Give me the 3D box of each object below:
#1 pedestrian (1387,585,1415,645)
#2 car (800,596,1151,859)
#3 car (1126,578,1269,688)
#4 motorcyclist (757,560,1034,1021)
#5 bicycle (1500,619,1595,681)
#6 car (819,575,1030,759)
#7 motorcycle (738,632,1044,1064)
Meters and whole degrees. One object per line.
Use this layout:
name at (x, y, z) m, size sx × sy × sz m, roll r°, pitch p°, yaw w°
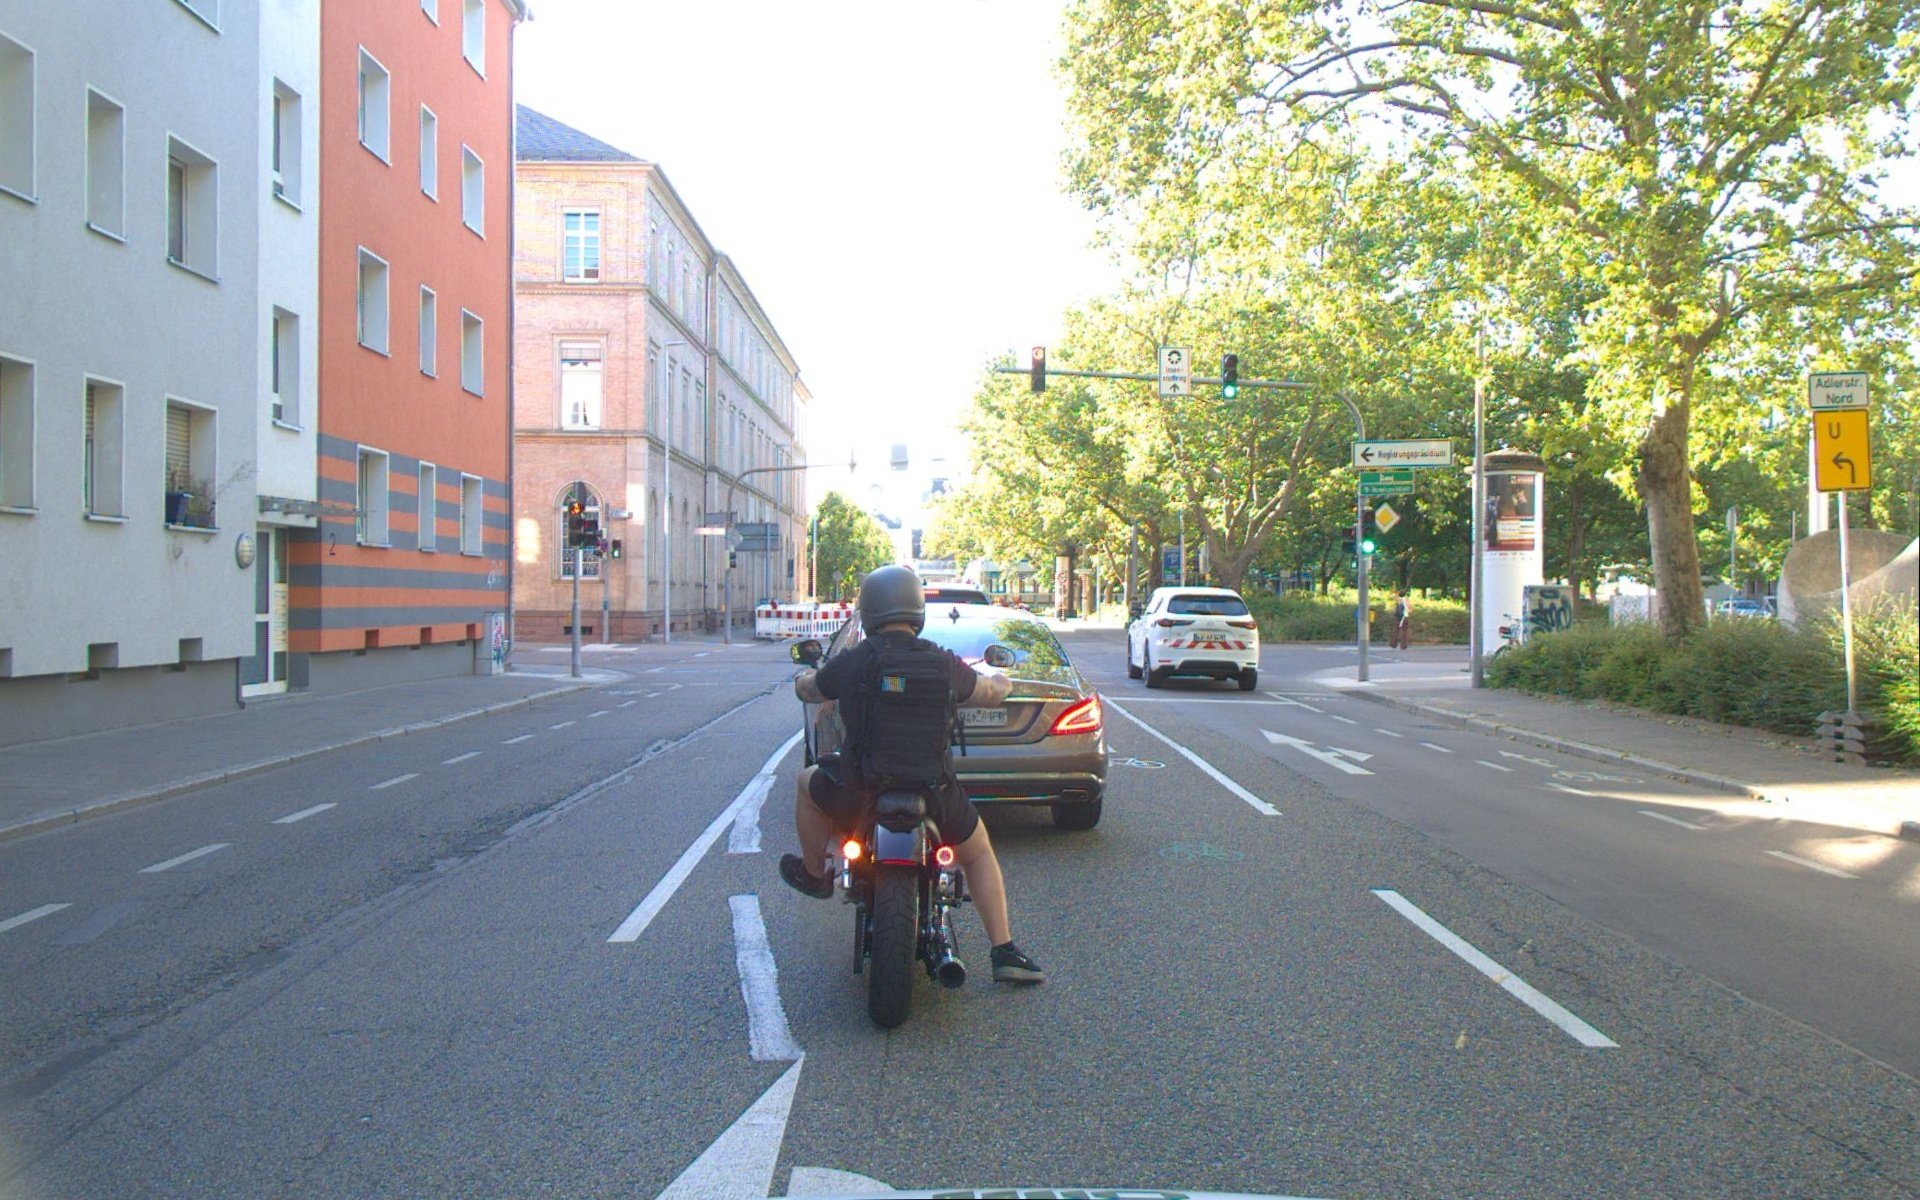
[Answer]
pedestrian at (13.309, 0.452, 49.948) m, size 0.664 × 1.803 × 0.616 m, roll 1°, pitch -1°, yaw 29°
car at (-0.109, 0.710, 11.612) m, size 1.834 × 1.469 × 4.422 m, roll 0°, pitch 0°, yaw -8°
car at (4.093, 0.525, 29.191) m, size 1.903 × 1.738 × 4.484 m, roll 1°, pitch 0°, yaw 1°
motorcyclist at (-0.234, 0.662, 6.397) m, size 0.961 × 1.606 × 1.248 m, roll 0°, pitch 0°, yaw -1°
bicycle at (9.791, 0.837, 27.589) m, size 1.452 × 0.997 × 0.299 m, roll 1°, pitch -1°, yaw 5°
car at (-0.358, 0.634, 17.531) m, size 1.953 × 1.695 × 3.999 m, roll 1°, pitch 0°, yaw -1°
motorcycle at (-0.233, 0.804, 6.411) m, size 0.961 × 1.297 × 2.407 m, roll 0°, pitch 0°, yaw -1°
